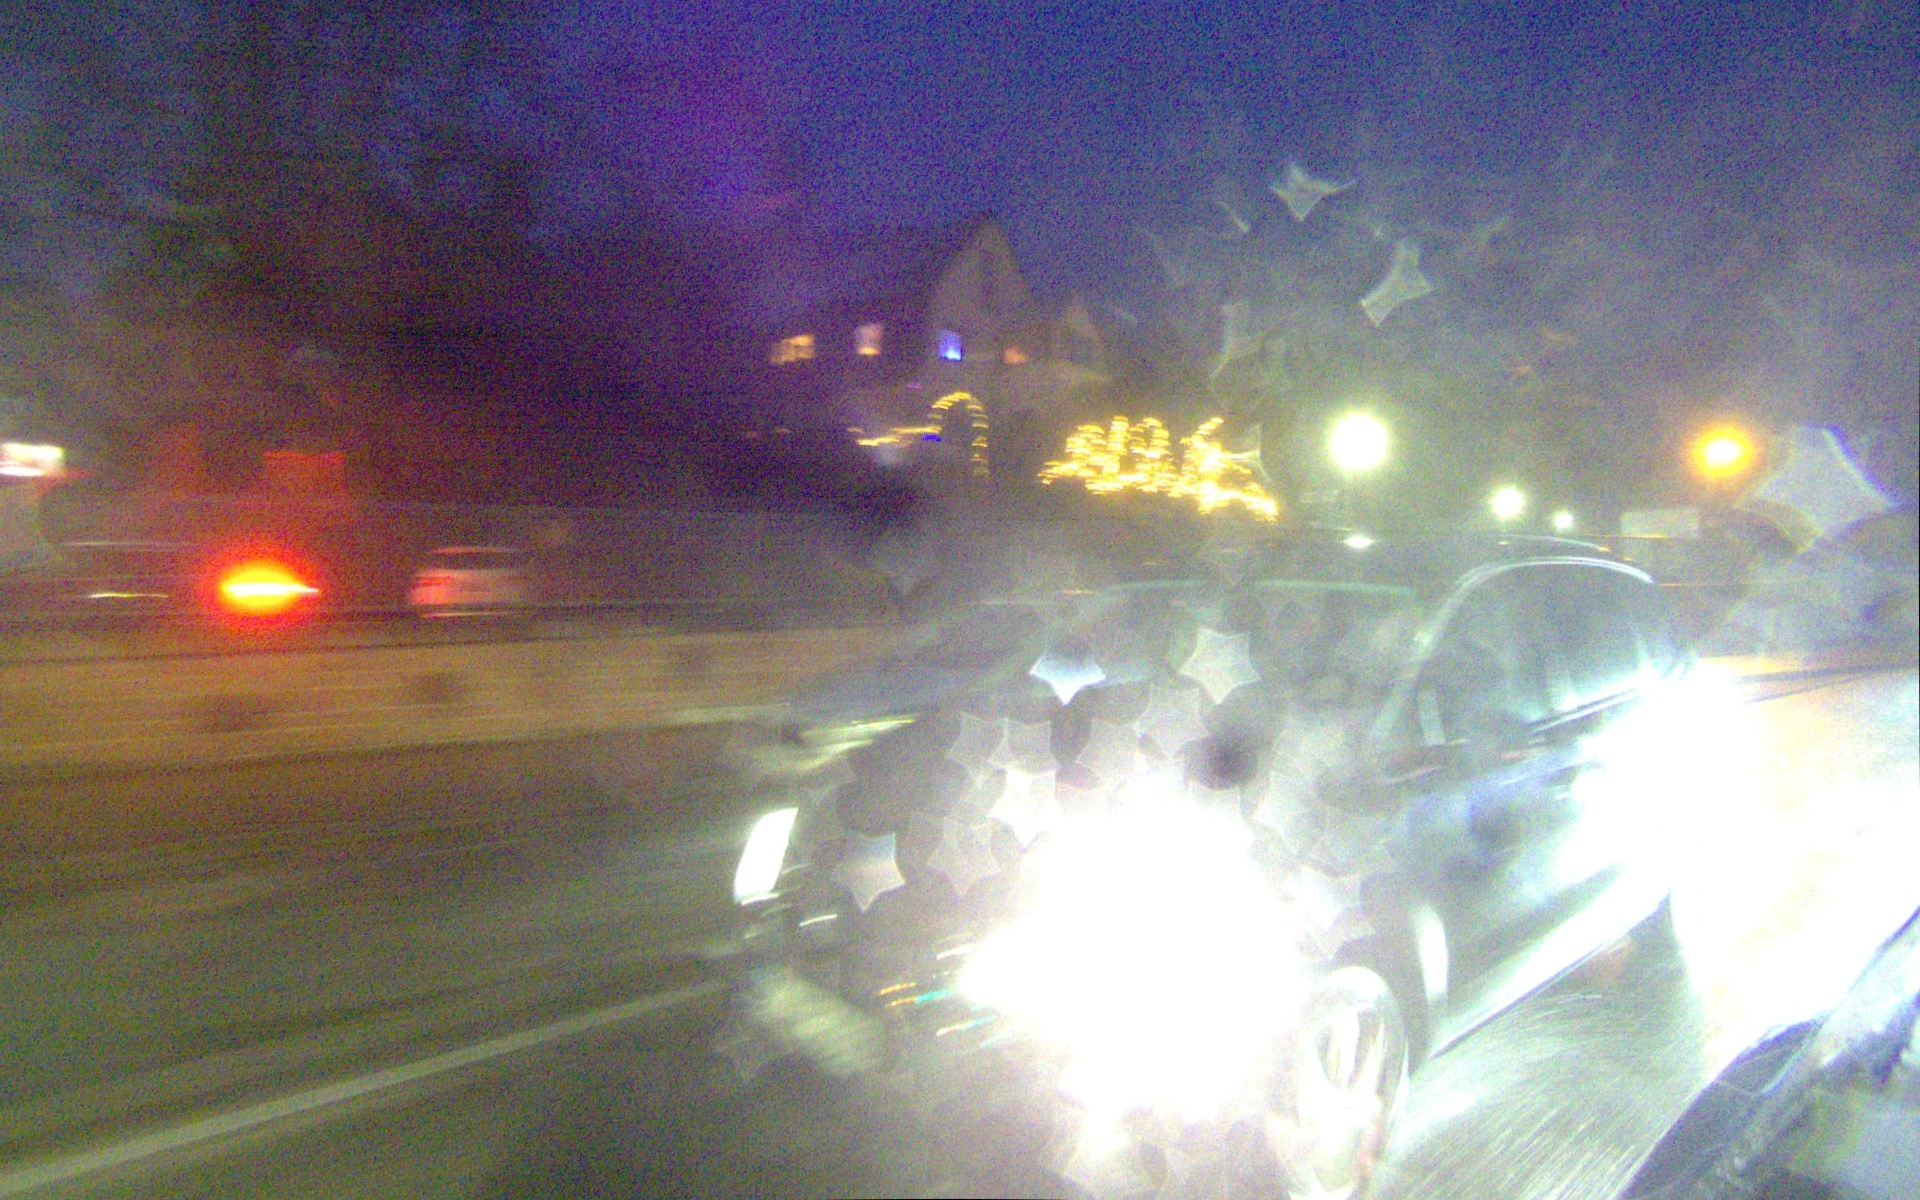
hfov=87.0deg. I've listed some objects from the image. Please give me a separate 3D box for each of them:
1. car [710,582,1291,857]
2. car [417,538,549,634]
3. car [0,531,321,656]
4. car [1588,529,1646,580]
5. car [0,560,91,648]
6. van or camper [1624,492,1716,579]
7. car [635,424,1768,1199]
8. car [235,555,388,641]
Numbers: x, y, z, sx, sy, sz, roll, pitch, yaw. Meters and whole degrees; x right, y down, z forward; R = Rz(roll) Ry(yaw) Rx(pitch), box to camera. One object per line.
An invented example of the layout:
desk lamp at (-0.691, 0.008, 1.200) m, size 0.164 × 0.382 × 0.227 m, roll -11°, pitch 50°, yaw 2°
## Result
car at (0.484, 0.626, 7.450) m, size 4.163 × 1.460 × 1.788 m, roll 0°, pitch 1°, yaw -40°
car at (-8.368, -0.229, 18.050) m, size 1.727 × 1.506 × 3.955 m, roll -1°, pitch 0°, yaw -19°
car at (-11.239, -0.086, 13.226) m, size 4.608 × 1.502 × 1.730 m, roll -1°, pitch 0°, yaw -20°
car at (28.412, -1.899, 43.720) m, size 1.987 × 2.039 × 3.950 m, roll -1°, pitch 0°, yaw 35°
car at (-16.320, 0.074, 16.673) m, size 1.693 × 1.401 × 4.008 m, roll -1°, pitch 0°, yaw -20°
van or camper at (25.689, -2.200, 36.811) m, size 2.397 × 2.828 × 5.707 m, roll -1°, pitch 0°, yaw 32°
car at (1.446, 0.562, 3.954) m, size 4.855 × 1.757 × 1.837 m, roll -1°, pitch 0°, yaw -41°
car at (-10.980, -0.045, 17.358) m, size 1.442 × 1.307 × 3.514 m, roll -1°, pitch 0°, yaw -19°
